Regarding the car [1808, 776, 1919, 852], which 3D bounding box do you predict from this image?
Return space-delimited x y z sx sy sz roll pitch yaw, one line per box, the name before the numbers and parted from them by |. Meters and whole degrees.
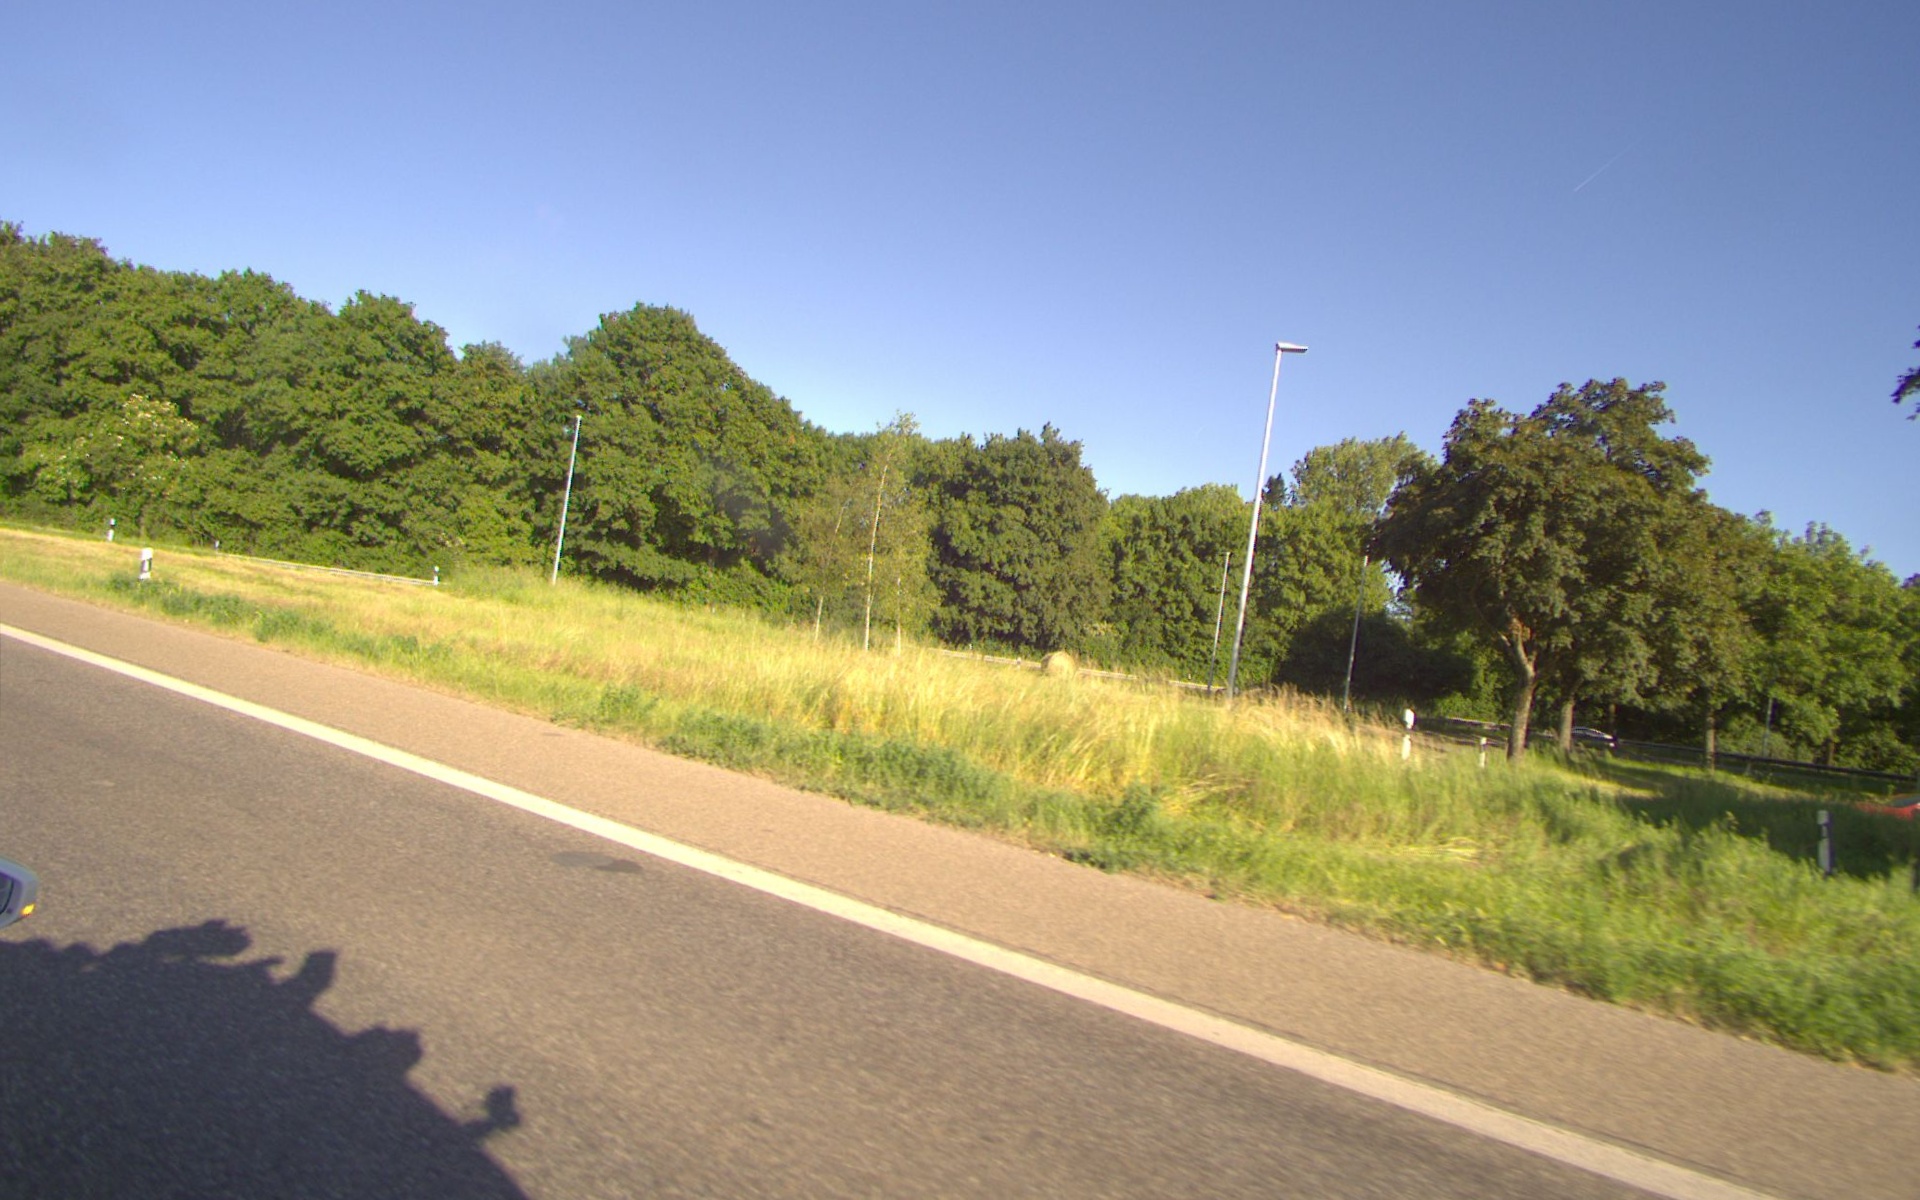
car | 24.484 5.629 25.551 4.070 1.479 1.706 7 -3 15
